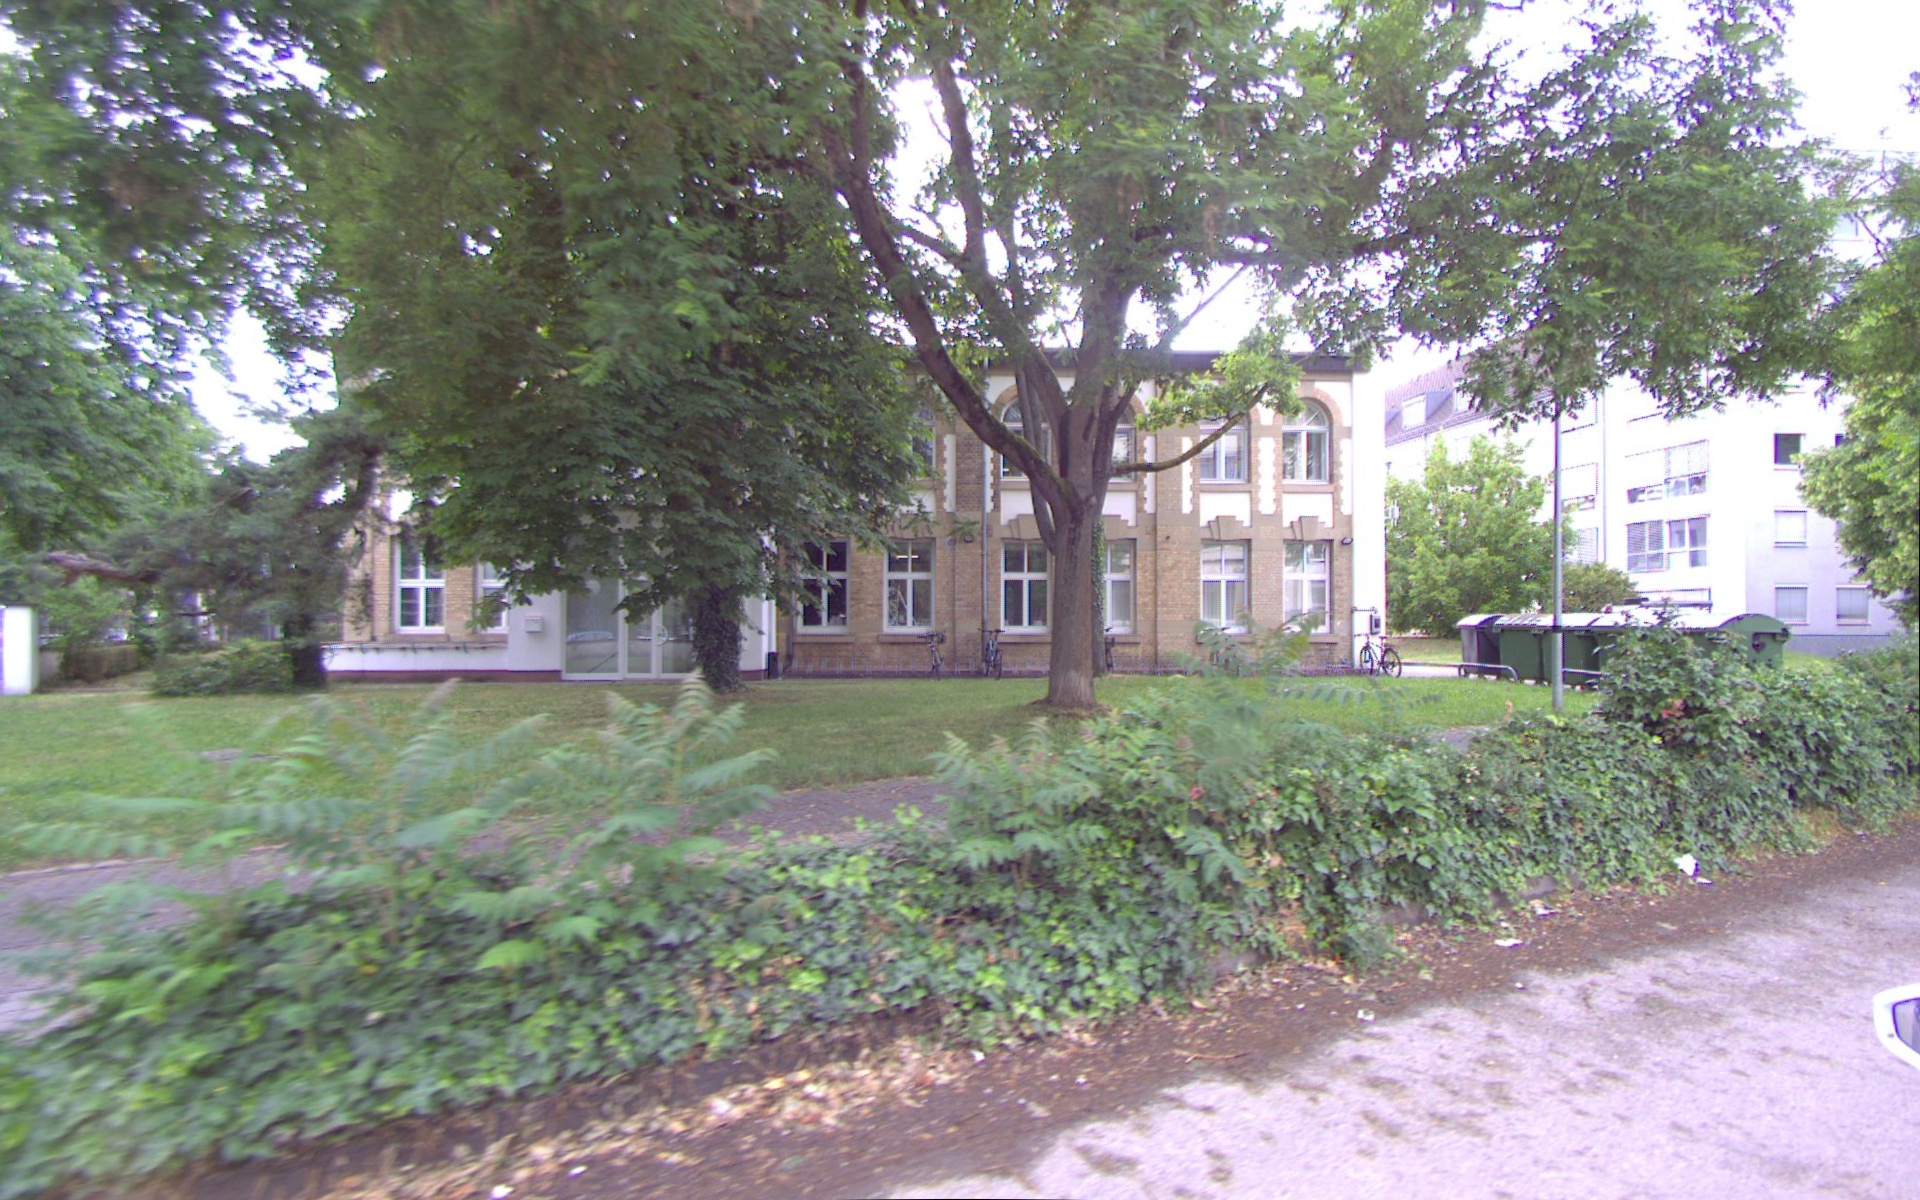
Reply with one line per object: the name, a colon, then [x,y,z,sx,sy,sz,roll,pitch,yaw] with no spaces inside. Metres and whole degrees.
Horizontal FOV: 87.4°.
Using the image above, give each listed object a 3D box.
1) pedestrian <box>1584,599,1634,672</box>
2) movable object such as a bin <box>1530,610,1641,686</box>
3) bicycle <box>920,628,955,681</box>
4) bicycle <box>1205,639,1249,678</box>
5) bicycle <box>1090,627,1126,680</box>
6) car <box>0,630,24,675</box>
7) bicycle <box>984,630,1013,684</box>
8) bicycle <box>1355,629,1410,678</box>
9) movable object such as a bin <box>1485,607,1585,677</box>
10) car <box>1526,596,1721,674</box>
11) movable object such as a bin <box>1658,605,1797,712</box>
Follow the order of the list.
pedestrian: [16.633,0.919,25.752,0.742,1.832,0.698,0,-3,-7]
movable object such as a bin: [10.969,0.824,17.660,1.036,1.281,1.352,0,-1,-9]
bicycle: [-0.501,1.212,23.016,0.606,1.134,2.222,0,-1,3]
bicycle: [6.170,1.335,23.281,0.606,0.824,1.945,0,-1,3]
bicycle: [3.372,1.191,22.971,0.606,1.134,2.222,0,-1,3]
car: [-29.808,1.593,30.485,1.497,1.320,3.150,0,-1,-33]
bicycle: [0.896,1.265,22.877,0.606,1.134,2.222,0,-1,3]
bicycle: [9.867,1.235,23.533,0.388,1.079,1.827,0,-1,-5]
movable object such as a bin: [10.940,0.774,19.156,1.037,1.281,1.351,0,-1,-12]
car: [18.046,0.964,27.435,4.271,2.040,1.852,1,-2,-8]
movable object such as a bin: [11.165,0.813,14.676,1.034,1.469,1.355,0,1,5]
